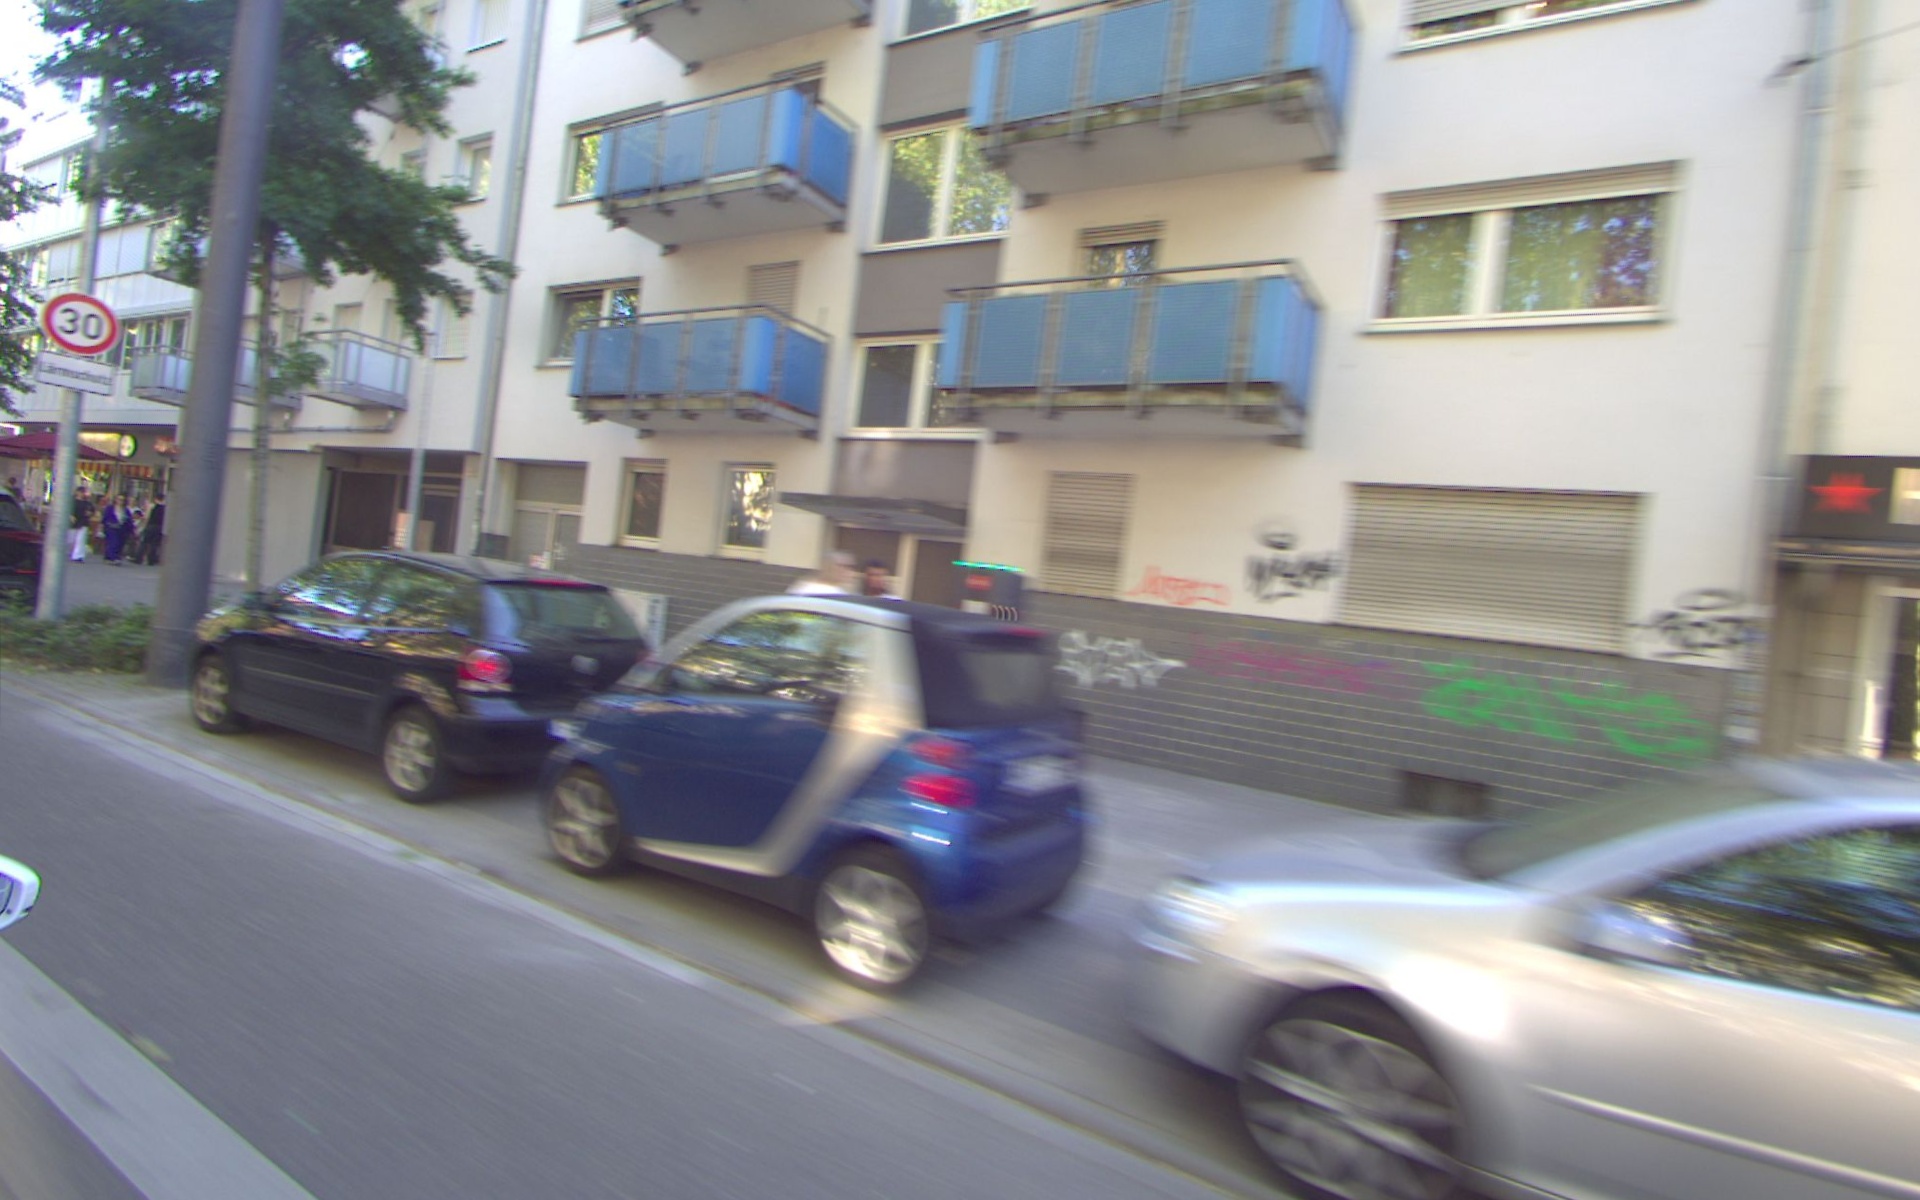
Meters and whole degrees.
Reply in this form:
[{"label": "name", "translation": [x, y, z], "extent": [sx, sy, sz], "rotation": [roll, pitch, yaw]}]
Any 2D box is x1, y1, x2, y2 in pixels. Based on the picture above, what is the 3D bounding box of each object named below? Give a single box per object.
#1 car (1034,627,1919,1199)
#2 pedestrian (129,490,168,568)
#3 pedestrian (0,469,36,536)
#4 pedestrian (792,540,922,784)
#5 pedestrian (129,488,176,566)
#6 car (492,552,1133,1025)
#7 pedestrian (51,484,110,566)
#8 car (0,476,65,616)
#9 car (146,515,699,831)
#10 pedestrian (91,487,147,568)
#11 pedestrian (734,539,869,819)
[{"label": "car", "translation": [2.498, 1.114, 2.993], "extent": [4.059, 1.557, 1.787], "rotation": [7, 2, 32]}, {"label": "pedestrian", "translation": [-19.691, -1.724, 24.410], "extent": [0.481, 1.817, 0.432], "rotation": [7, -1, 31]}, {"label": "pedestrian", "translation": [-25.600, -2.622, 27.187], "extent": [0.803, 1.678, 0.676], "rotation": [6, -1, 41]}, {"label": "pedestrian", "translation": [-0.842, 0.501, 8.259], "extent": [0.653, 1.874, 0.539], "rotation": [7, 0, 30]}, {"label": "pedestrian", "translation": [-20.245, -1.818, 25.217], "extent": [0.519, 1.826, 0.630], "rotation": [7, -1, -15]}, {"label": "car", "translation": [-0.798, 0.710, 5.112], "extent": [2.833, 1.557, 1.445], "rotation": [7, 2, 32]}, {"label": "pedestrian", "translation": [-19.139, -1.627, 21.888], "extent": [0.855, 1.659, 0.642], "rotation": [7, 2, 30]}, {"label": "car", "translation": [-13.068, -0.838, 12.404], "extent": [4.255, 1.609, 1.759], "rotation": [7, 3, 30]}, {"label": "car", "translation": [-3.916, 0.357, 7.191], "extent": [3.823, 1.501, 1.624], "rotation": [7, 2, 30]}, {"label": "pedestrian", "translation": [-18.766, -1.619, 22.448], "extent": [0.919, 1.700, 0.596], "rotation": [7, 2, 30]}, {"label": "pedestrian", "translation": [-1.136, 0.541, 7.219], "extent": [0.652, 1.877, 0.476], "rotation": [7, 4, 24]}]
